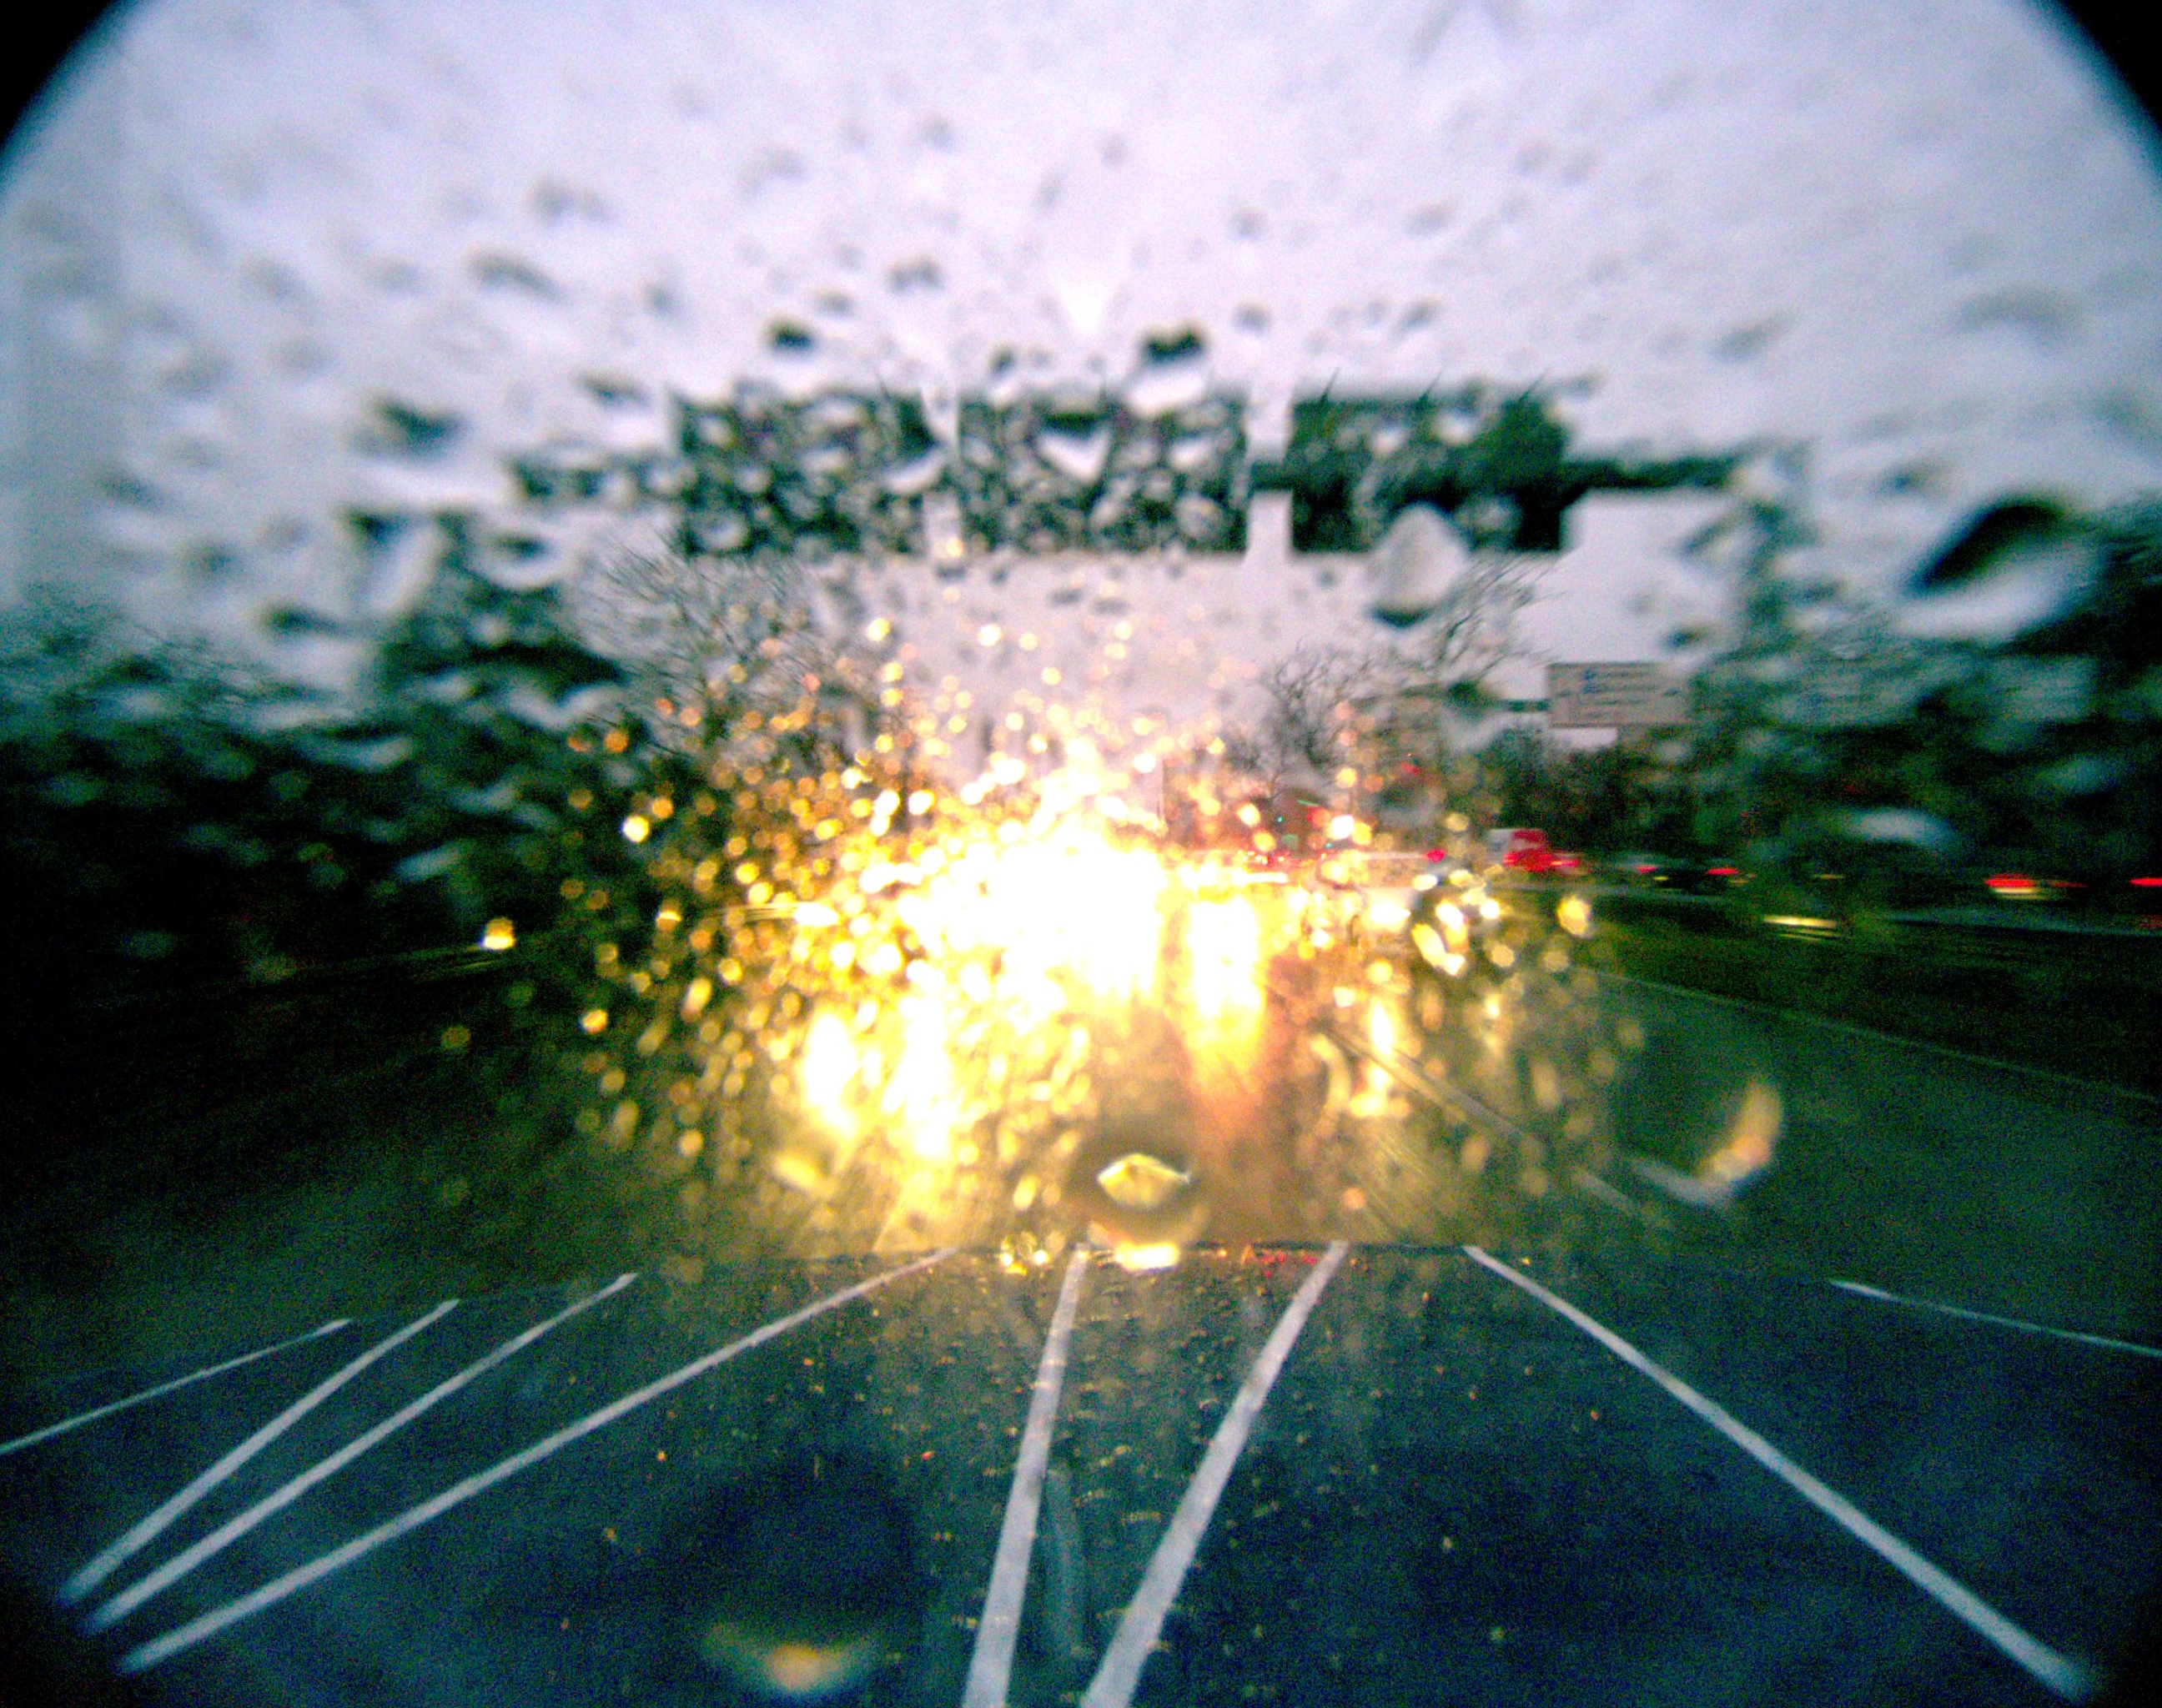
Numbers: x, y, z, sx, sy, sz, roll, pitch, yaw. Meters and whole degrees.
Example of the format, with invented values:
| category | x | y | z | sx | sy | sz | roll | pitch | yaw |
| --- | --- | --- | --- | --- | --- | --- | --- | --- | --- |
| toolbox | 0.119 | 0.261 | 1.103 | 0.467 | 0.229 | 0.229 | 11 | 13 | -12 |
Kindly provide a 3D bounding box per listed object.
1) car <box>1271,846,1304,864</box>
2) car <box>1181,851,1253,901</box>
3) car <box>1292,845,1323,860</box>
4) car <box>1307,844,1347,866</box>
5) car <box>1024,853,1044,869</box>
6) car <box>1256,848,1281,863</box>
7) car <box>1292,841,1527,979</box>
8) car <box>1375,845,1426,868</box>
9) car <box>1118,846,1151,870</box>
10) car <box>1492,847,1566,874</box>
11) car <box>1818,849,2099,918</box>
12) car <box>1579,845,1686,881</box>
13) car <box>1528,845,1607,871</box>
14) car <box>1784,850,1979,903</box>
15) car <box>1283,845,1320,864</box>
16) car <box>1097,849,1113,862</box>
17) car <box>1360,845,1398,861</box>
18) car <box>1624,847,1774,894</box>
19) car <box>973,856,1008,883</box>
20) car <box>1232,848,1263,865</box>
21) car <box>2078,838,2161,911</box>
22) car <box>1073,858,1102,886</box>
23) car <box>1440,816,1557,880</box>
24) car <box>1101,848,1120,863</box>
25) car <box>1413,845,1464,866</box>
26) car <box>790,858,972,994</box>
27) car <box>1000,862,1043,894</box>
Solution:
| category | x | y | z | sx | sy | sz | roll | pitch | yaw |
| --- | --- | --- | --- | --- | --- | --- | --- | --- | --- |
| car | 19.156 | 0.064 | 70.739 | 1.861 | 1.589 | 4.286 | -1 | 1 | 0 |
| car | 4.735 | 0.708 | 27.013 | 1.694 | 1.530 | 4.189 | -2 | 1 | -1 |
| car | 22.936 | -0.134 | 77.089 | 1.774 | 1.486 | 4.439 | -1 | 1 | 0 |
| car | 18.837 | 0.039 | 58.314 | 1.774 | 1.577 | 4.032 | -1 | 1 | 0 |
| car | -4.030 | 0.596 | 66.151 | 1.636 | 1.302 | 3.998 | -1 | 1 | -2 |
| car | 18.955 | 0.145 | 76.787 | 1.656 | 1.412 | 3.325 | -1 | 1 | 0 |
| car | 4.521 | 0.644 | 11.185 | 1.718 | 1.638 | 4.146 | -1 | 1 | 1 |
| car | 22.136 | 0.151 | 52.811 | 1.774 | 1.528 | 4.446 | -1 | 1 | 1 |
| car | 3.735 | 0.264 | 53.779 | 1.953 | 1.590 | 4.123 | -1 | 1 | -1 |
| car | 25.059 | 0.318 | 42.677 | 1.760 | 1.390 | 3.999 | -1 | 1 | 0 |
| car | 21.505 | 0.628 | 18.979 | 1.909 | 1.438 | 4.441 | -1 | 1 | 0 |
| car | 24.936 | 0.361 | 34.540 | 1.909 | 1.438 | 4.089 | -1 | 1 | 0 |
| car | 29.119 | 0.204 | 45.671 | 1.909 | 1.438 | 4.441 | -1 | 1 | 0 |
| car | 24.886 | 0.641 | 23.871 | 1.740 | 1.438 | 4.171 | -1 | 1 | 0 |
| car | 18.610 | 0.005 | 64.302 | 1.774 | 1.524 | 4.524 | -1 | 1 | 0 |
| car | 3.312 | 0.152 | 105.343 | 1.998 | 1.605 | 3.999 | -2 | 2 | 0 |
| car | 26.044 | -0.098 | 66.616 | 1.760 | 1.390 | 3.999 | -1 | 1 | 0 |
| car | 21.483 | 0.509 | 26.694 | 1.908 | 1.438 | 4.456 | -1 | 1 | 5 |
| car | -5.932 | 0.996 | 50.396 | 1.972 | 1.610 | 4.546 | 0 | 1 | -3 |
| car | 15.766 | 0.203 | 72.122 | 1.774 | 1.528 | 4.840 | -1 | 1 | 0 |
| car | 28.739 | 0.534 | 18.941 | 1.998 | 1.840 | 4.426 | -2 | 1 | 2 |
| car | 0.391 | 1.073 | 47.454 | 1.679 | 1.590 | 4.043 | -1 | 1 | -1 |
| car | 22.010 | -0.380 | 40.549 | 2.297 | 2.988 | 7.345 | -2 | 2 | 2 |
| car | 3.457 | 0.161 | 89.041 | 1.998 | 1.652 | 3.999 | -2 | 2 | 0 |
| car | 25.713 | 0.072 | 54.752 | 1.760 | 1.390 | 3.999 | -1 | 1 | 0 |
| car | -2.847 | 0.927 | 11.842 | 1.820 | 1.609 | 4.409 | -1 | 1 | -3 |
| car | -2.854 | 1.129 | 37.569 | 1.882 | 1.368 | 4.753 | -1 | 1 | -2 |
